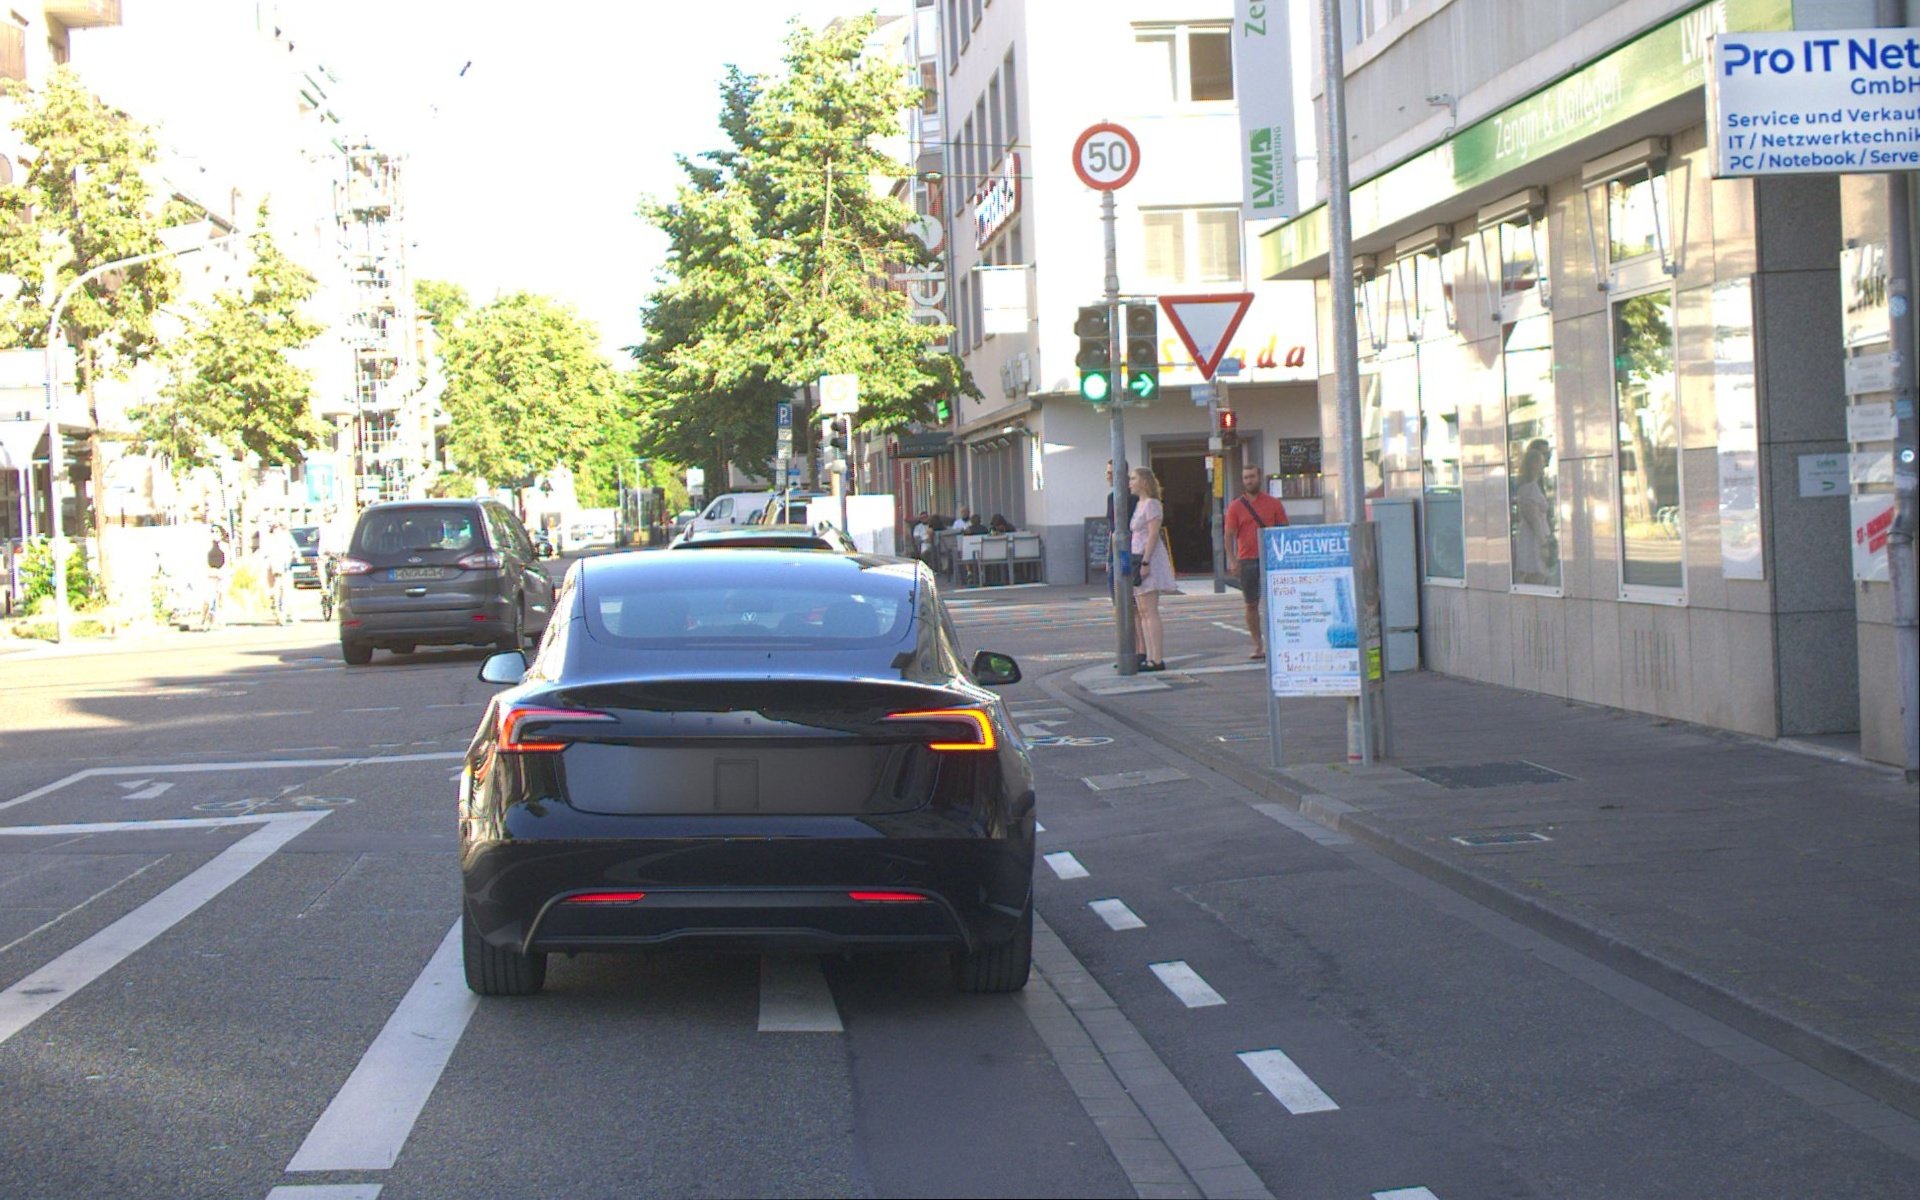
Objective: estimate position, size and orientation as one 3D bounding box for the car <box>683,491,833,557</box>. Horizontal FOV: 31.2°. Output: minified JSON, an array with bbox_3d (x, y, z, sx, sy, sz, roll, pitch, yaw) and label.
[{"bbox_3d":[-7.512,-2.823,127.608,5.390,2.138,2.000,-3,1,-5],"label":"car"}]

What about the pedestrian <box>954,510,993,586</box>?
[{"bbox_3d":[0.235,-0.924,60.565,0.586,1.308,0.560,-3,1,-4],"label":"pedestrian"}]

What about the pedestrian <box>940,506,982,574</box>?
[{"bbox_3d":[0.019,-1.243,71.336,0.730,1.355,0.959,-3,1,-4],"label":"pedestrian"}]

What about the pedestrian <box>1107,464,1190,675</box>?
[{"bbox_3d":[1.602,-0.266,29.303,0.572,1.753,0.649,-2,2,-4],"label":"pedestrian"}]

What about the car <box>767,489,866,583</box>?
[{"bbox_3d":[-3.050,-1.375,72.485,1.904,1.845,4.289,-2,2,-4],"label":"car"}]

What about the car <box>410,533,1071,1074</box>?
[{"bbox_3d":[-0.756,0.553,12.277,1.869,1.422,4.365,-3,2,-3],"label":"car"}]

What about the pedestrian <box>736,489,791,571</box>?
[{"bbox_3d":[-4.704,-1.690,82.438,0.958,1.909,1.104,-3,1,12],"label":"pedestrian"}]

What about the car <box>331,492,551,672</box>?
[{"bbox_3d":[-5.476,-0.240,36.712,1.904,1.727,4.289,-2,2,-4],"label":"car"}]

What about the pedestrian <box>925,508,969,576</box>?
[{"bbox_3d":[-0.272,-1.186,70.047,0.730,1.342,1.060,-3,1,-6],"label":"pedestrian"}]

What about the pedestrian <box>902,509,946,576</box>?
[{"bbox_3d":[-0.750,-1.197,71.130,0.709,1.342,1.060,-3,1,-7],"label":"pedestrian"}]

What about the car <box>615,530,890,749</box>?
[{"bbox_3d":[-1.455,0.225,25.556,1.761,1.414,4.355,-2,1,0],"label":"car"}]

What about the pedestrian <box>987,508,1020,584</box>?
[{"bbox_3d":[0.772,-0.973,61.374,0.488,1.317,0.653,-3,1,4],"label":"pedestrian"}]

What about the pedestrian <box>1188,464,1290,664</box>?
[{"bbox_3d":[2.457,-0.326,30.344,0.690,1.697,0.912,-4,2,-3],"label":"pedestrian"}]

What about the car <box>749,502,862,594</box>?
[{"bbox_3d":[-3.000,-1.031,66.053,2.000,1.630,4.289,-2,2,-4],"label":"car"}]

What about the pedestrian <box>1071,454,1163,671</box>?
[{"bbox_3d":[1.361,-0.332,29.831,0.640,1.835,0.682,-3,2,-4],"label":"pedestrian"}]
